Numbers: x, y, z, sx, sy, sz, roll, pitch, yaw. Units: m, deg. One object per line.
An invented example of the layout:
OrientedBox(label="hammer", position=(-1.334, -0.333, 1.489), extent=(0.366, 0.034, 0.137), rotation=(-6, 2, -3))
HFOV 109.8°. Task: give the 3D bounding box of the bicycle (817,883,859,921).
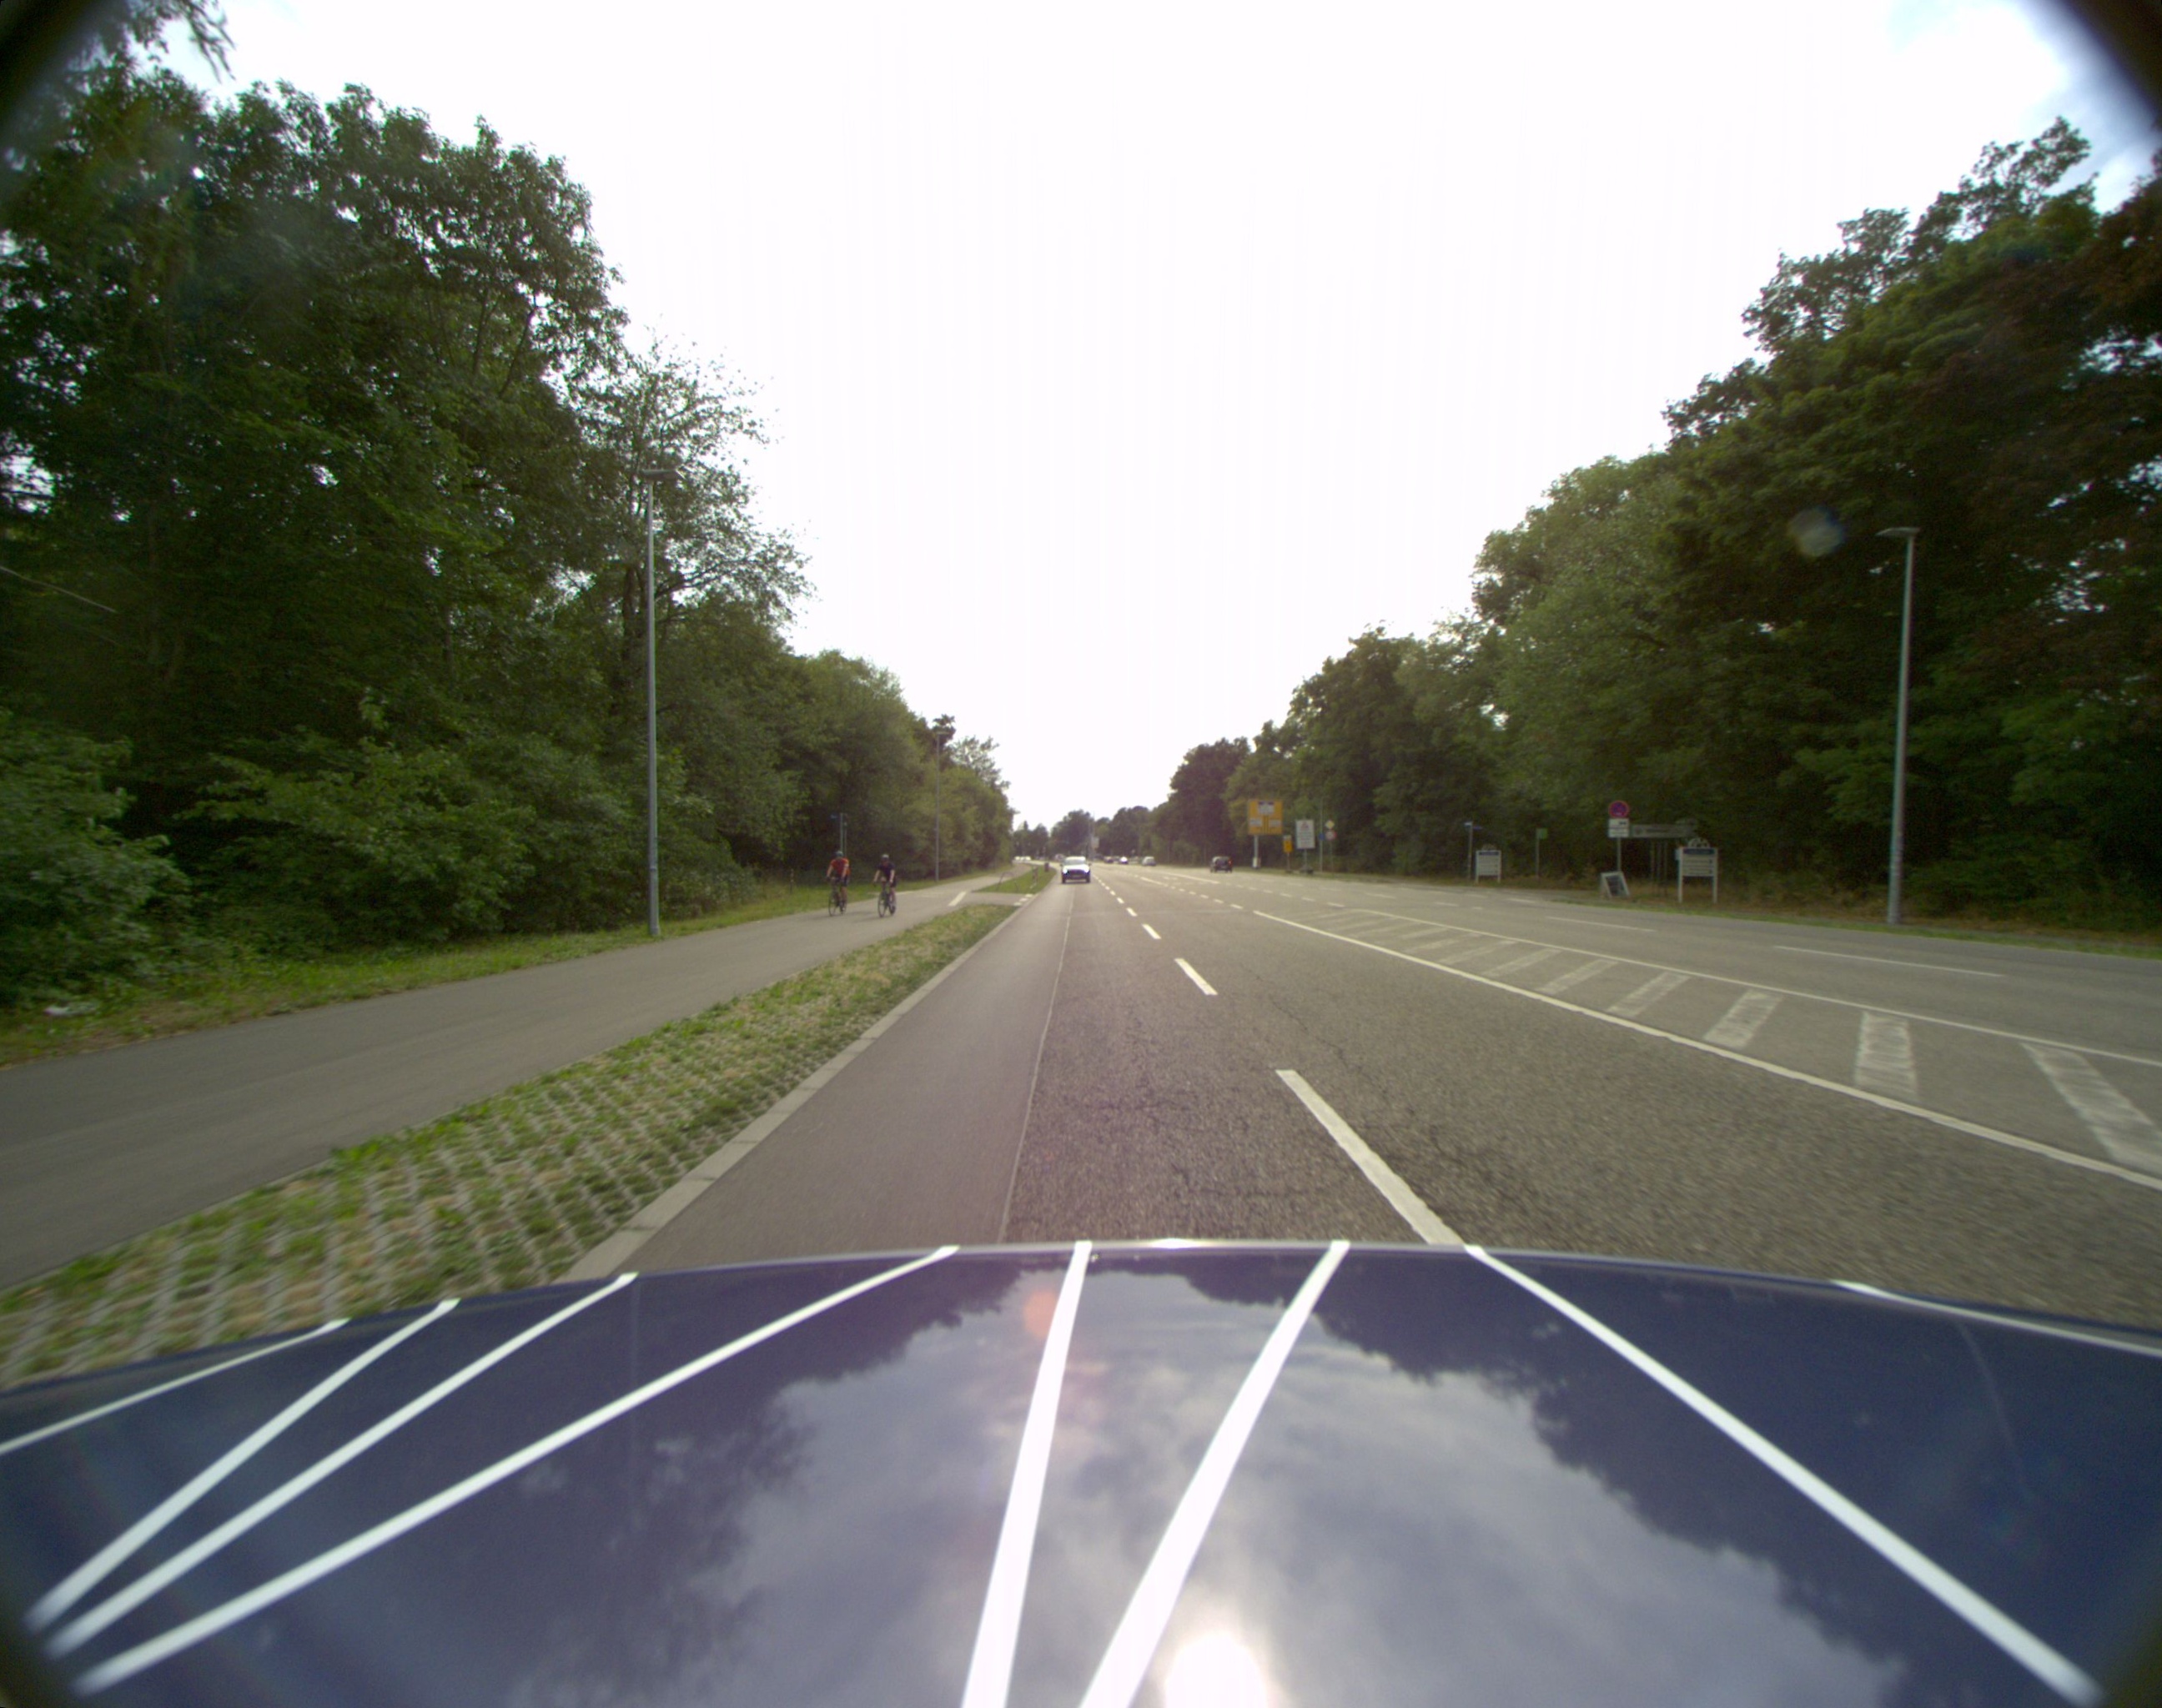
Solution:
OrientedBox(label="bicycle", position=(-6.456, 1.245, 20.267), extent=(0.567, 0.906, 1.887), rotation=(0, 0, -1))

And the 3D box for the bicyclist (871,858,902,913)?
OrientedBox(label="bicyclist", position=(-5.200, 0.825, 20.340), extent=(0.521, 1.407, 1.186), rotation=(0, 1, -1))

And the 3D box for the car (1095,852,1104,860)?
OrientedBox(label="car", position=(5.058, 0.643, 205.913), extent=(1.999, 2.002, 3.997), rotation=(-3, 1, -5))

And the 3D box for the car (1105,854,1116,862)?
OrientedBox(label="car", position=(7.327, 1.016, 187.757), extent=(1.999, 1.871, 3.997), rotation=(-3, 1, -6))

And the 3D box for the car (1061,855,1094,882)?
OrientedBox(label="car", position=(-0.258, 0.912, 49.472), extent=(1.999, 1.565, 3.999), rotation=(-3, 1, -1))

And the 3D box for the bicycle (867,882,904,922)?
OrientedBox(label="bicycle", position=(-5.205, 1.263, 20.312), extent=(0.567, 0.906, 1.754), rotation=(2, 1, -1))

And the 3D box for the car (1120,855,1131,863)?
OrientedBox(label="car", position=(9.972, 1.199, 171.855), extent=(1.999, 1.585, 3.998), rotation=(-3, 1, -4))

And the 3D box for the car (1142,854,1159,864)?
OrientedBox(label="car", position=(11.094, 0.797, 121.472), extent=(1.940, 1.492, 4.590), rotation=(-3, 1, -3))

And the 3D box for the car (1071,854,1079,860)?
OrientedBox(label="car", position=(-1.783, 0.881, 224.486), extent=(2.000, 1.641, 3.997), rotation=(0, 0, -8))

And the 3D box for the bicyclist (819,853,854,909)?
OrientedBox(label="bicyclist", position=(-6.497, 0.695, 20.228), extent=(0.521, 1.407, 1.186), rotation=(-2, 1, -1))

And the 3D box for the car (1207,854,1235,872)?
OrientedBox(label="car", position=(12.932, 0.792, 70.377), extent=(1.745, 1.466, 3.999), rotation=(-3, 1, 0))
